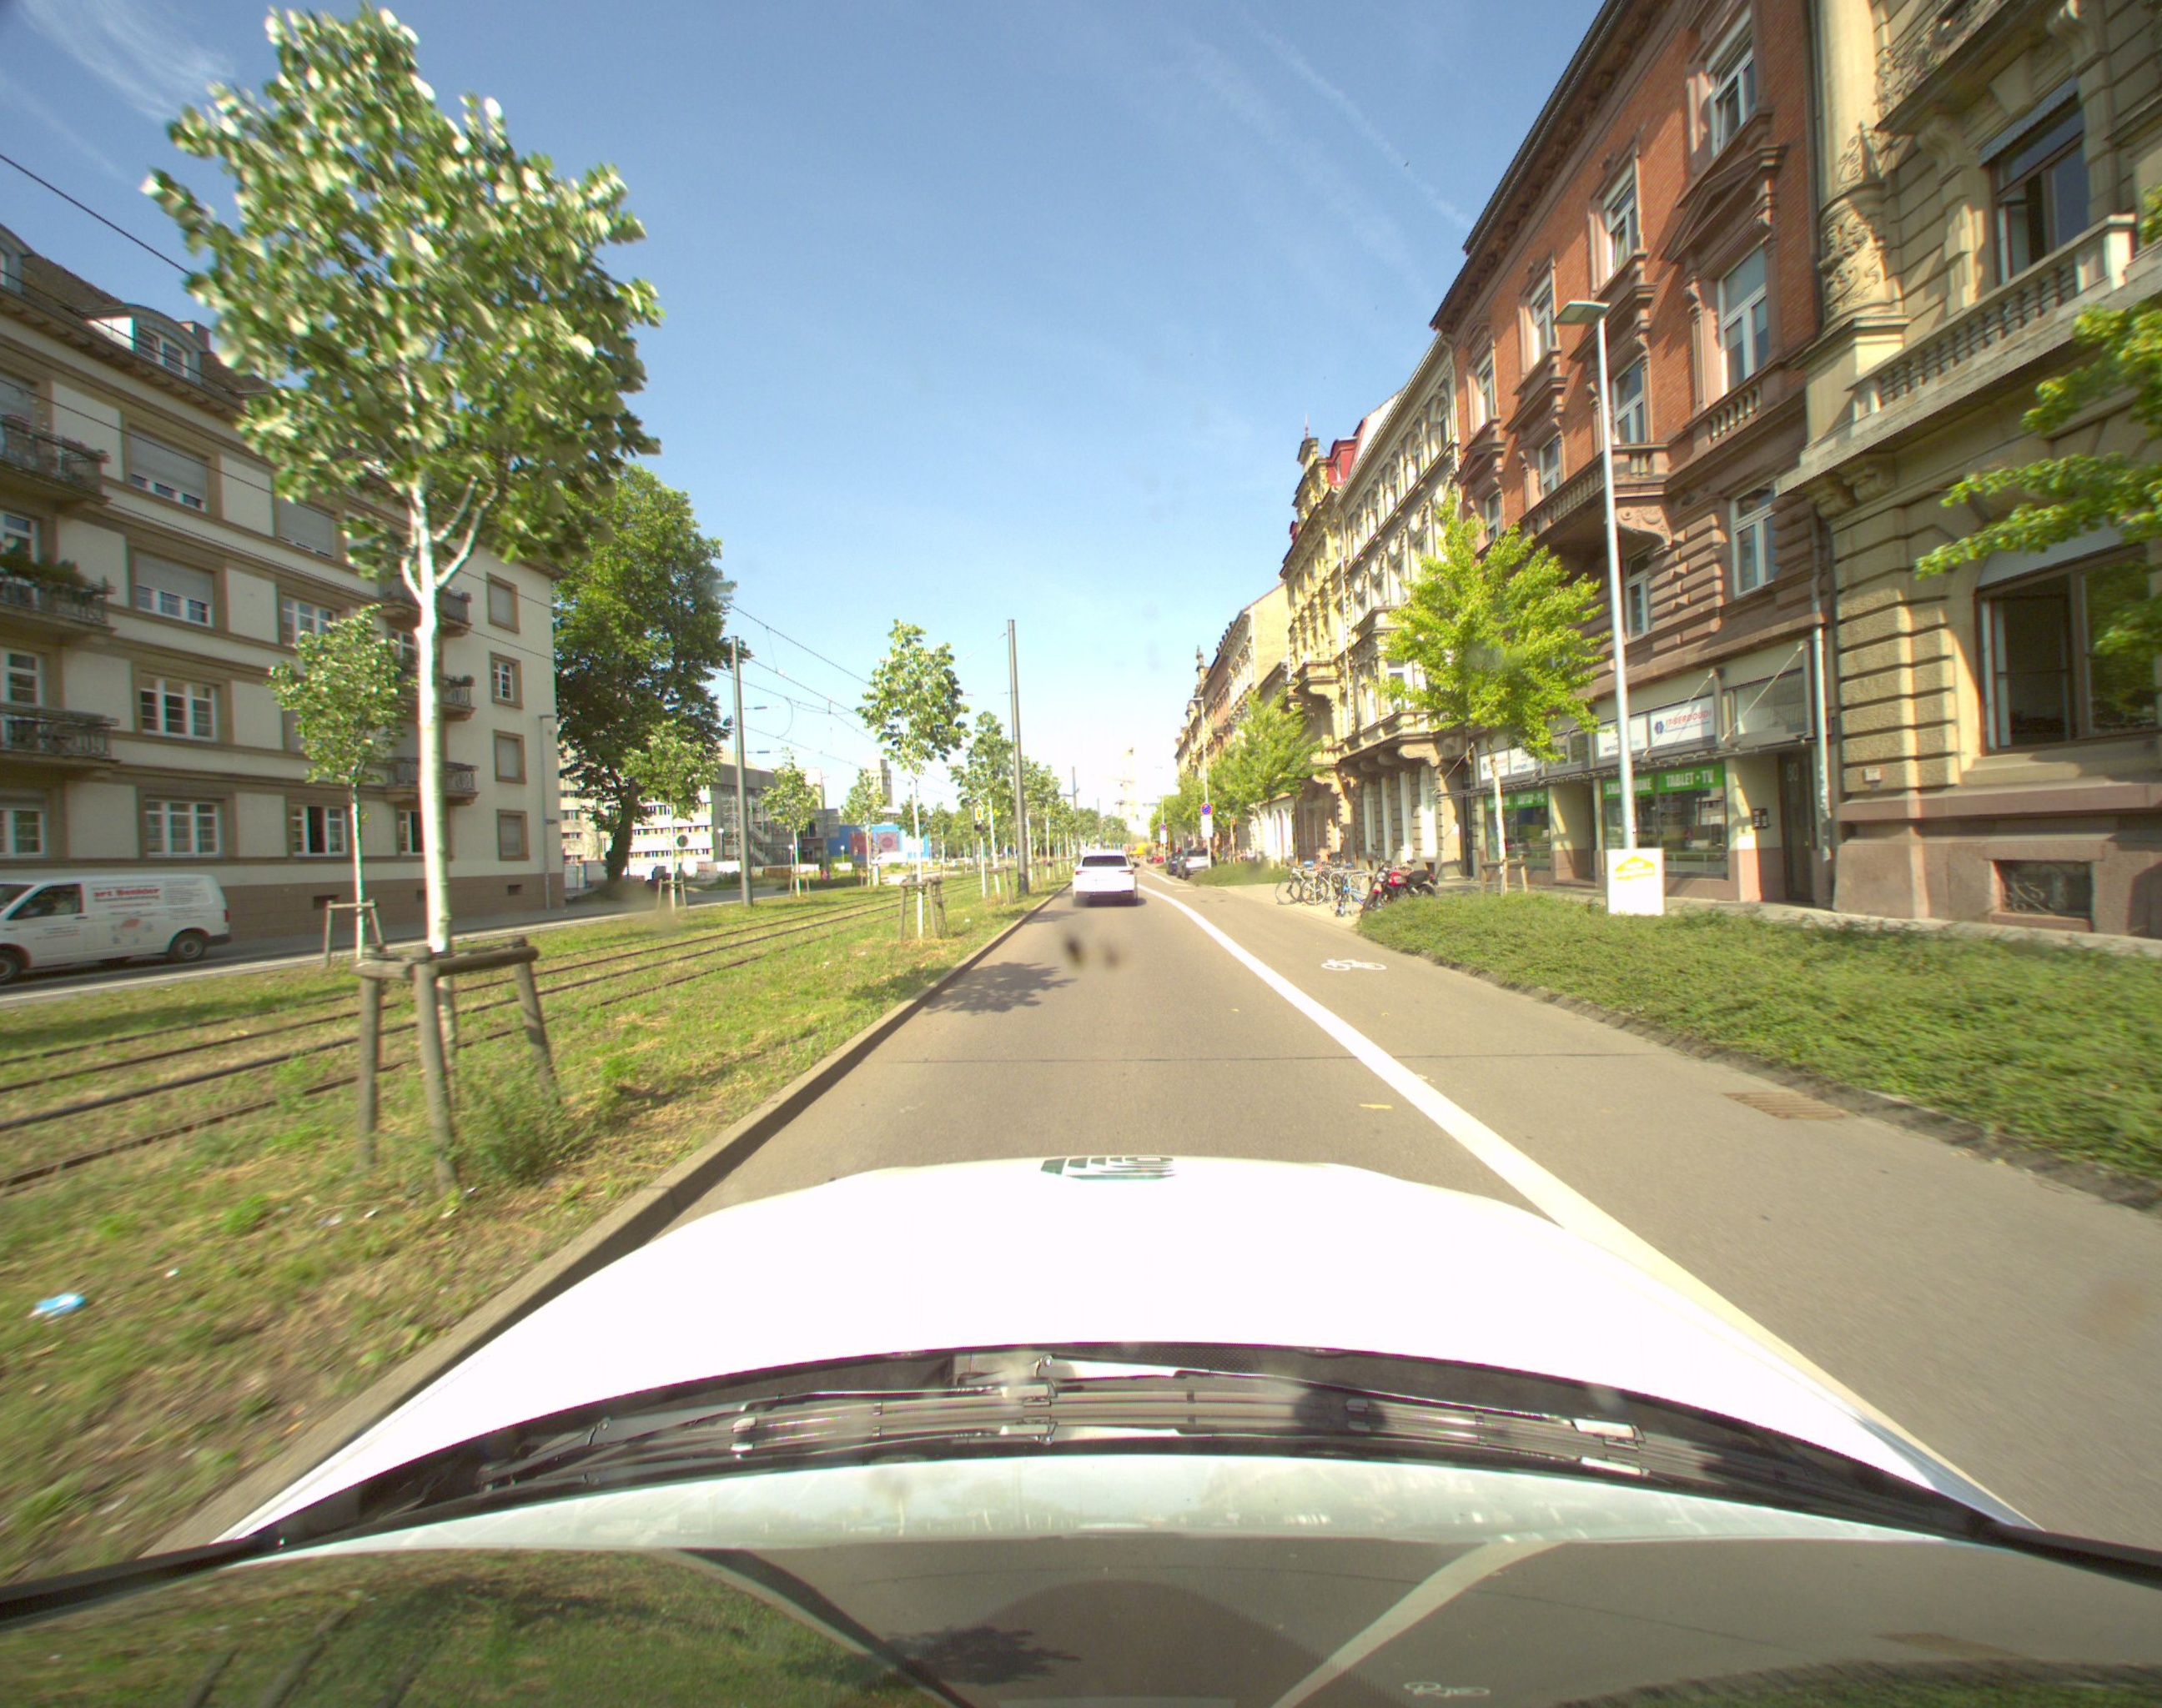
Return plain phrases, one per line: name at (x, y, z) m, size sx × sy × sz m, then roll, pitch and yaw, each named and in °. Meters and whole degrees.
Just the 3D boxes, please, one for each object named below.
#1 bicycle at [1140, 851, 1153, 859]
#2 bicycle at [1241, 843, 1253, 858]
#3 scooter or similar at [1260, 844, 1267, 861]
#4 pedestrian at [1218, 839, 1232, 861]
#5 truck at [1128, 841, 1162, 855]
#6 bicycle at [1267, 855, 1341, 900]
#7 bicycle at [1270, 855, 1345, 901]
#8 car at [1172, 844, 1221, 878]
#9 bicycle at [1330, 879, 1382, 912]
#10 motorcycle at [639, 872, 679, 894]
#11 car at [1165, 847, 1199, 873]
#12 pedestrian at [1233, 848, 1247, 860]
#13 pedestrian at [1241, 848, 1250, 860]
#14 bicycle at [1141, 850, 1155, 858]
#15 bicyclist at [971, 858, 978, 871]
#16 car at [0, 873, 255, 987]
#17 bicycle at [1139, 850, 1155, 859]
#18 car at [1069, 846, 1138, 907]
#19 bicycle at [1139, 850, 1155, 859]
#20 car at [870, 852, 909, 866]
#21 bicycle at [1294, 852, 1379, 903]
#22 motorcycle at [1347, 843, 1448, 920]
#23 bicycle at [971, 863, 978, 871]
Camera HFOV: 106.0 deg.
bicycle at (9.640, 0.080, 120.064) m, size 1.924 × 1.013 × 0.441 m, roll -5°, pitch 0°, yaw 6°
bicycle at (12.376, -0.275, 60.731) m, size 0.450 × 1.083 × 1.445 m, roll -3°, pitch 0°, yaw -7°
scooter or similar at (12.559, -0.132, 56.077) m, size 0.287 × 1.134 × 1.091 m, roll -3°, pitch 0°, yaw 8°
pedestrian at (11.419, -0.307, 64.729) m, size 0.821 × 1.696 × 0.792 m, roll -5°, pitch 0°, yaw -2°
truck at (11.419, -1.113, 145.754) m, size 5.813 × 2.318 × 2.234 m, roll -2°, pitch 0°, yaw 39°
bicycle at (5.881, 0.614, 21.527) m, size 1.779 × 1.054 × 0.373 m, roll -4°, pitch 0°, yaw 0°
bicycle at (5.863, 0.613, 21.128) m, size 1.779 × 1.054 × 0.373 m, roll -4°, pitch 0°, yaw 0°
car at (6.006, 0.328, 42.793) m, size 1.764 × 1.588 × 4.245 m, roll -4°, pitch 0°, yaw -1°
bicycle at (5.798, 0.871, 17.184) m, size 0.954 × 0.609 × 0.361 m, roll -4°, pitch 0°, yaw 3°
motorcycle at (-29.189, 1.986, 56.333) m, size 2.307 × 1.369 × 0.809 m, roll -3°, pitch 0°, yaw -35°
car at (6.233, 0.344, 50.578) m, size 1.729 × 1.396 × 4.719 m, roll -4°, pitch 0°, yaw 4°
pedestrian at (12.807, -0.031, 65.610) m, size 0.875 × 0.876 × 0.711 m, roll -5°, pitch 0°, yaw -1°
pedestrian at (12.897, -0.013, 63.911) m, size 0.569 × 0.854 × 0.457 m, roll -5°, pitch 0°, yaw -4°
bicycle at (9.573, -0.006, 116.233) m, size 1.926 × 0.986 × 0.471 m, roll -5°, pitch 0°, yaw 3°
bicyclist at (-15.184, 1.478, 115.949) m, size 0.644 × 1.736 × 0.919 m, roll -4°, pitch -1°, yaw 2°
car at (-20.516, 1.455, 16.554) m, size 1.985 × 1.918 × 5.156 m, roll -1°, pitch 0°, yaw 3°
bicycle at (9.289, 0.068, 115.031) m, size 2.229 × 1.104 × 0.589 m, roll -5°, pitch 0°, yaw 3°
car at (0.684, 0.594, 24.222) m, size 1.810 × 1.590 × 4.409 m, roll -2°, pitch 0°, yaw 2°
bicycle at (9.339, 0.070, 115.585) m, size 2.229 × 1.104 × 0.519 m, roll -5°, pitch 0°, yaw 3°
car at (-35.655, 0.891, 151.597) m, size 6.895 × 2.638 × 2.498 m, roll 0°, pitch 0°, yaw -19°
bicycle at (6.254, 0.564, 19.970) m, size 1.803 × 1.096 × 0.671 m, roll -4°, pitch 0°, yaw -4°
motorcycle at (6.179, 0.511, 15.853) m, size 2.050 × 1.286 × 0.698 m, roll -5°, pitch 1°, yaw -33°
bicycle at (-15.142, 1.833, 115.928) m, size 0.659 × 0.961 × 2.079 m, roll -4°, pitch 0°, yaw 2°
